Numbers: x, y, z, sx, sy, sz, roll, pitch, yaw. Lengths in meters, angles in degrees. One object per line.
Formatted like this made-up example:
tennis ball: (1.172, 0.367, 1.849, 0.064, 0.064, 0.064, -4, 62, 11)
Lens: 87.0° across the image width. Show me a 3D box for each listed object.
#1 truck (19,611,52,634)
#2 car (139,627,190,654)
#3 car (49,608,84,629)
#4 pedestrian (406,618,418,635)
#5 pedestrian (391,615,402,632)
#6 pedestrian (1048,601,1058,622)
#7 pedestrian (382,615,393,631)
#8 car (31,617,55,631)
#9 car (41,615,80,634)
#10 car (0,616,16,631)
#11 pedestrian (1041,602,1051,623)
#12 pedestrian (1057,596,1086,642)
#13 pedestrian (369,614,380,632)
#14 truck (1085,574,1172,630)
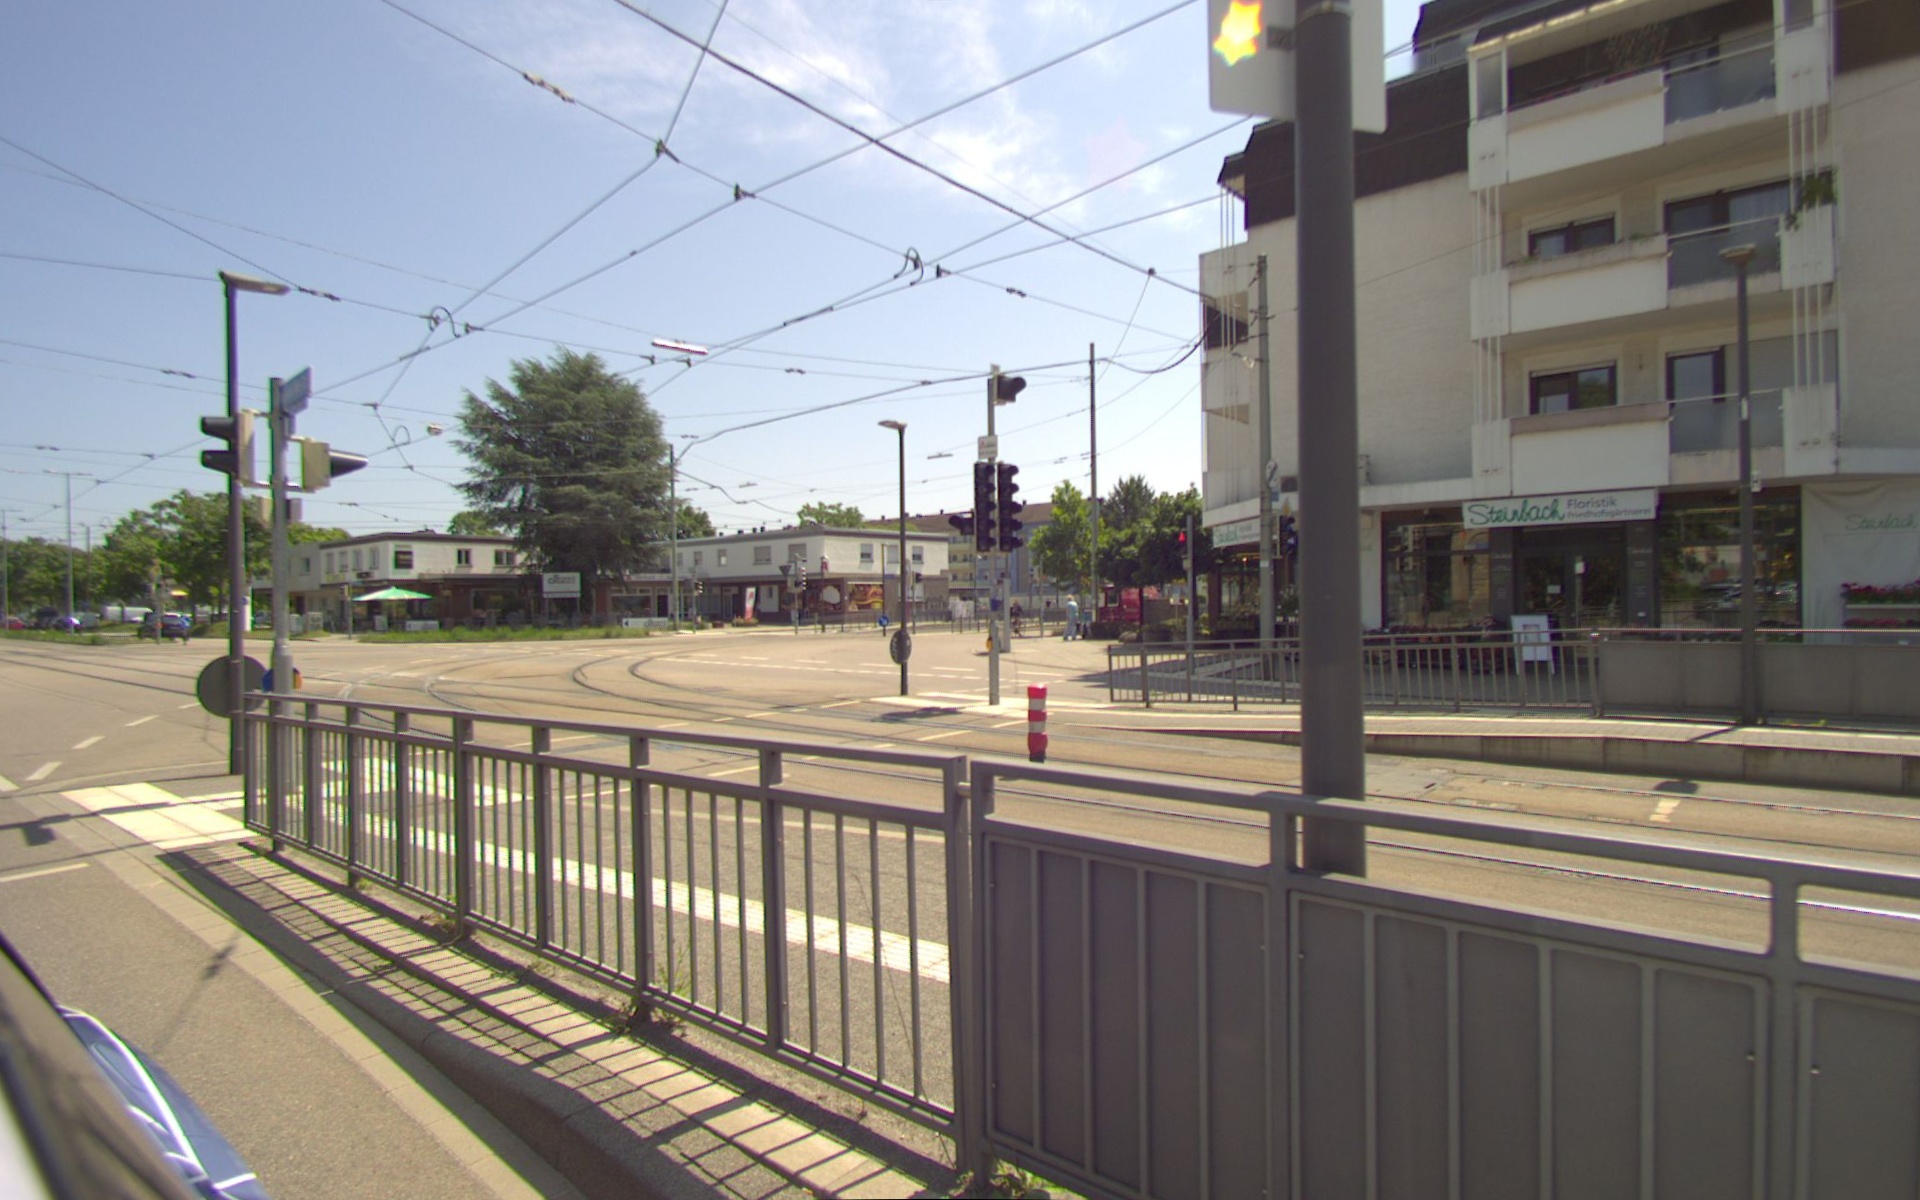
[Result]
truck: (-104.382, 2.559, 114.287, 4.926, 2.560, 2.197, -2, -1, 41)
car: (-49.231, 2.487, 62.612, 4.494, 1.591, 1.774, -2, -2, 43)
car: (-87.605, 1.820, 99.165, 4.659, 1.898, 1.973, -2, -1, 41)
pedestrian: (-37.363, 1.781, 68.983, 0.674, 1.136, 0.512, -2, -1, 41)
pedestrian: (-40.975, 1.678, 73.602, 0.674, 1.218, 0.512, -2, -1, 41)
pedestrian: (8.492, 1.074, 92.538, 0.679, 1.917, 0.640, -2, -2, 40)
pedestrian: (-41.370, 1.662, 73.169, 0.674, 1.208, 0.512, -2, -1, 41)
car: (-99.804, 2.624, 110.139, 3.669, 1.397, 1.653, -2, -1, 42)
car: (-72.634, 1.993, 81.667, 3.860, 1.449, 1.693, -2, -1, 38)
car: (-97.035, 2.366, 102.312, 3.821, 1.495, 1.609, -2, -1, 36)
pedestrian: (7.916, 1.154, 93.098, 0.679, 1.917, 0.640, -2, -2, 40)
pedestrian: (4.194, 0.713, 38.209, 0.808, 1.709, 0.691, -2, -1, 45)
pedestrian: (-42.304, 1.657, 73.125, 0.491, 1.248, 0.569, -2, -1, 40)
truck: (8.807, 0.131, 52.656, 2.186, 2.719, 4.974, -2, -2, 41)
